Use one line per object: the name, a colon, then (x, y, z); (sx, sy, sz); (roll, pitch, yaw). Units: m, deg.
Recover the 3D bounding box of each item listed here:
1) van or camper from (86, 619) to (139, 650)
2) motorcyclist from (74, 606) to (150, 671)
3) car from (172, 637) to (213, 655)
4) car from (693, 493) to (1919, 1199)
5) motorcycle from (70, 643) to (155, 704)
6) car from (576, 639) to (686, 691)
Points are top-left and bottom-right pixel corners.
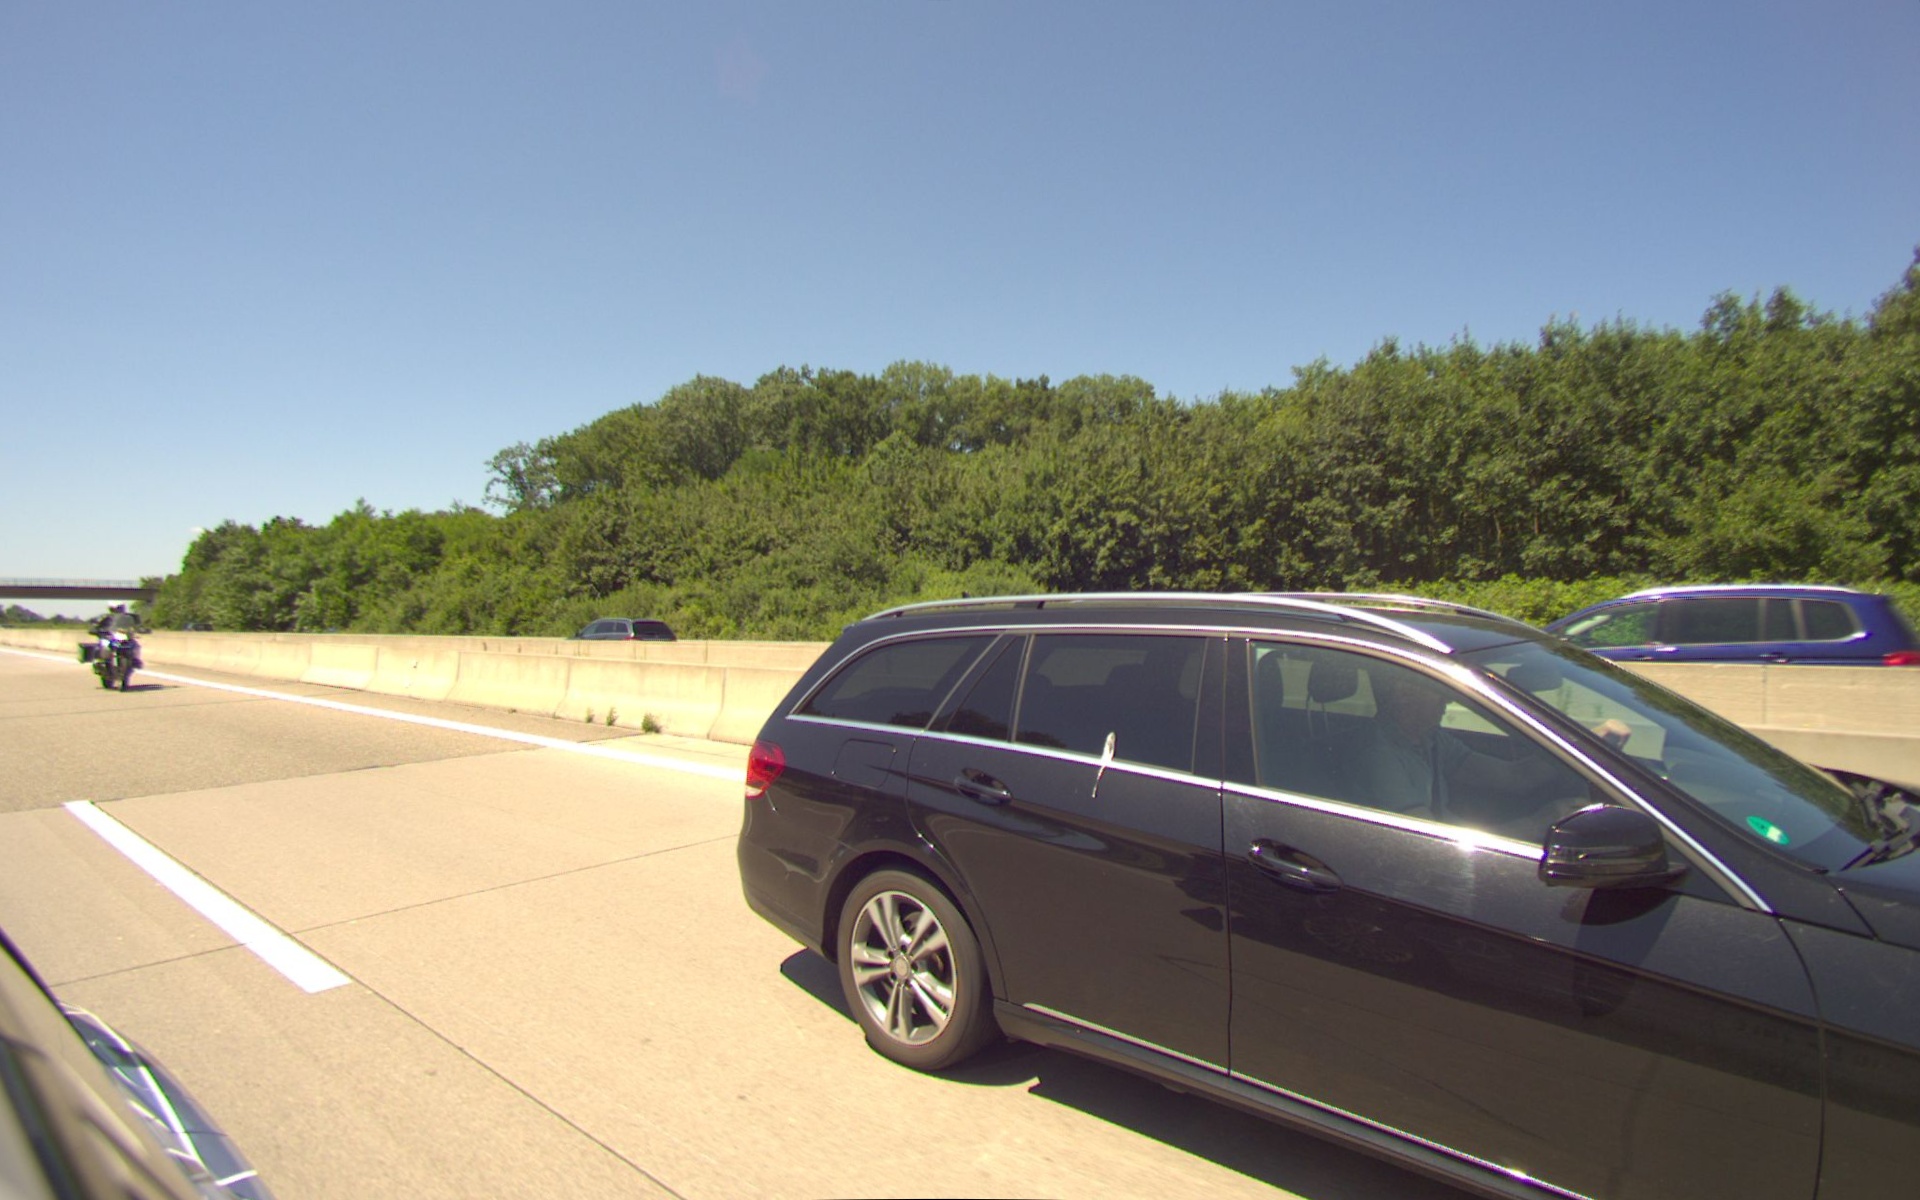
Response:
van or camper: (-52.695, 2.144, 62.918); (4.414, 1.896, 1.828); (-2, -2, 40)
motorcyclist: (-16.307, 0.736, 19.474); (0.911, 1.218, 1.013); (-3, -3, 42)
car: (-61.834, 3.698, 81.554); (3.999, 1.386, 1.907); (-2, -3, 42)
car: (1.703, 0.602, 2.707); (5.600, 1.484, 1.871); (-3, -3, 41)
motorcycle: (-16.314, 1.394, 19.454); (2.413, 1.057, 1.010); (-3, -3, 44)
car: (-9.930, 1.903, 30.411); (3.522, 1.429, 1.613); (-2, -2, 42)
